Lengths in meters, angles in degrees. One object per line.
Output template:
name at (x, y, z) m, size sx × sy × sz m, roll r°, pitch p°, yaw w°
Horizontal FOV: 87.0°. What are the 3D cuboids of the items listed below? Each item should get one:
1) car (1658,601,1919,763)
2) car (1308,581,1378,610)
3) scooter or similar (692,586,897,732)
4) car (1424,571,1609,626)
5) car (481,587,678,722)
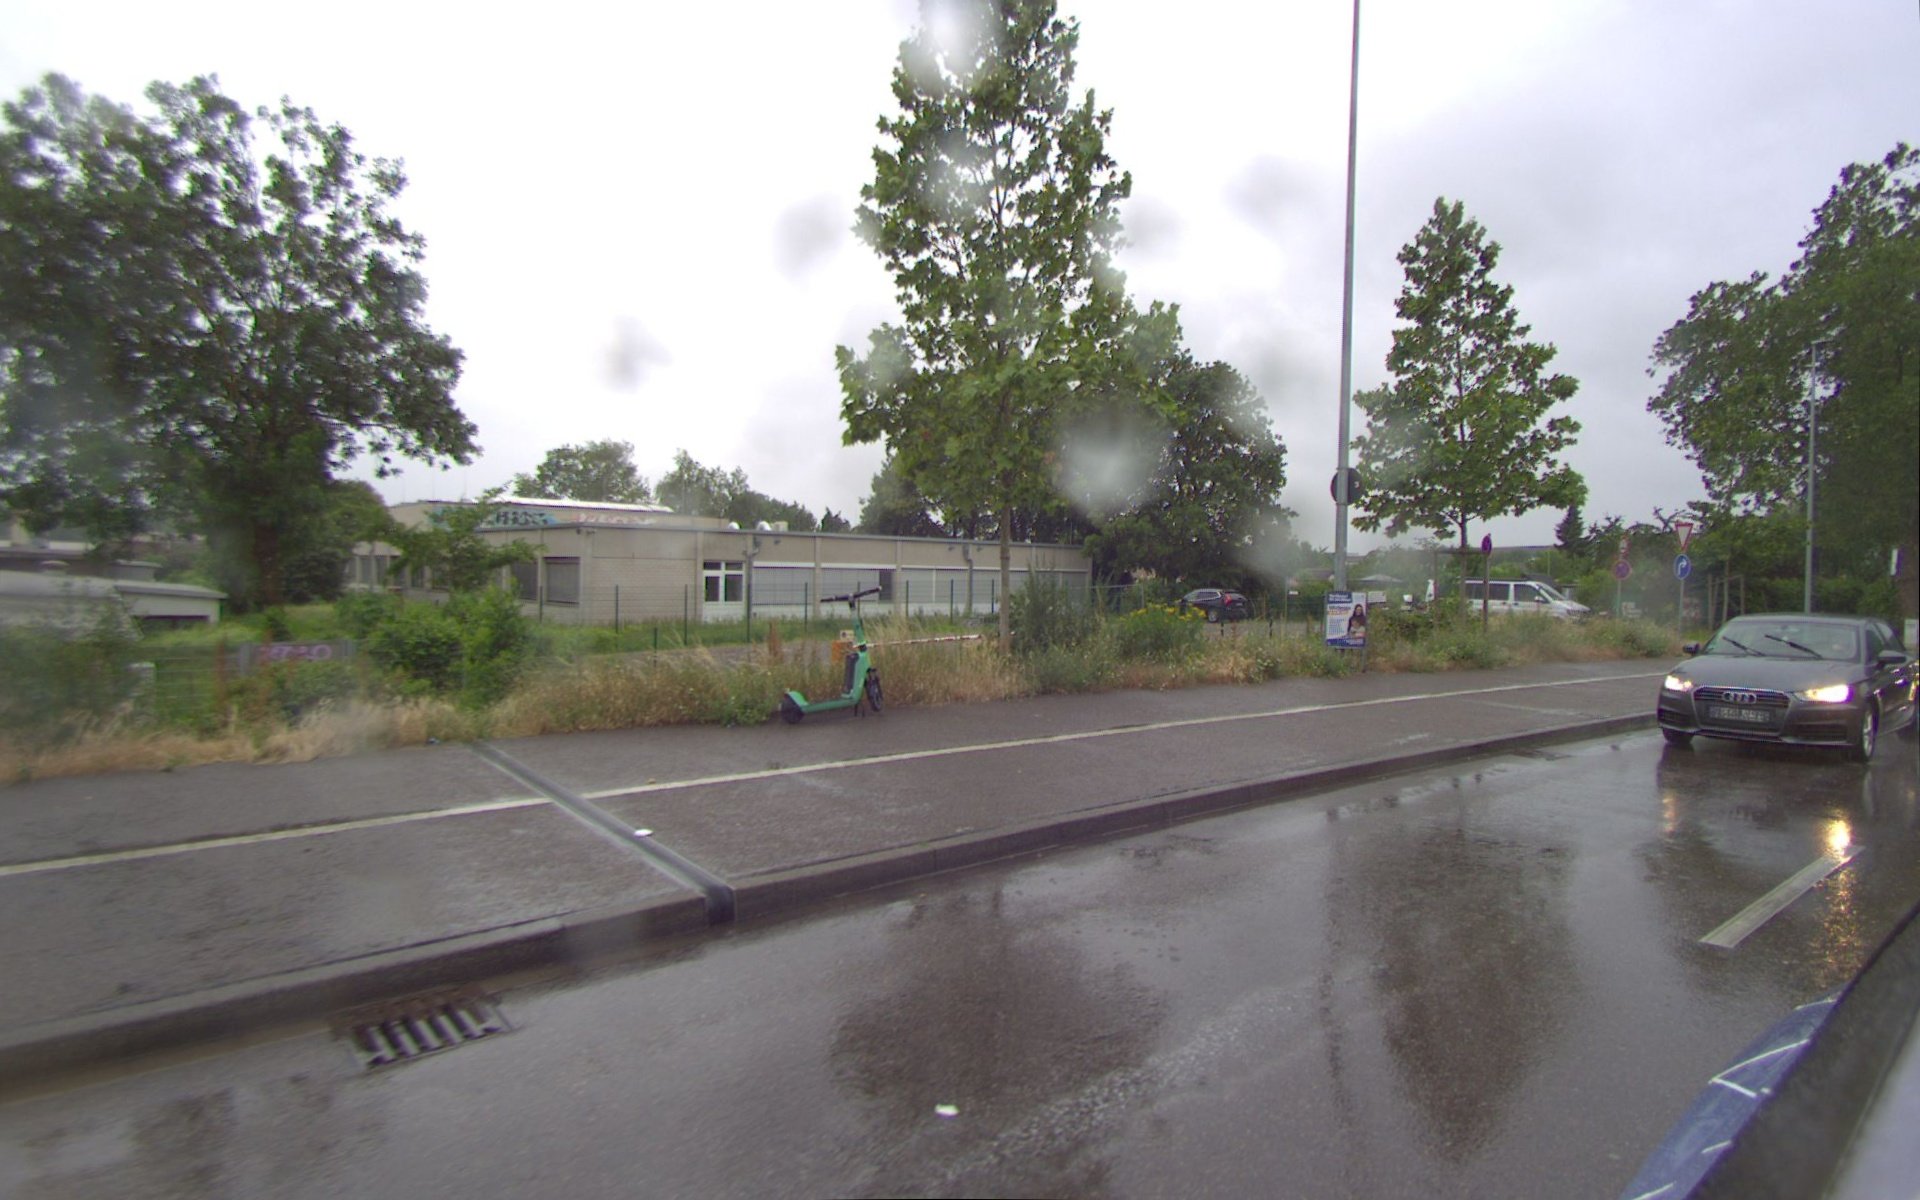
car at (9.044, 0.737, 10.763) m, size 3.563 × 1.383 × 1.602 m, roll 0°, pitch 2°, yaw -37°
car at (21.513, -0.270, 56.940) m, size 1.320 × 1.604 × 3.555 m, roll 0°, pitch 0°, yaw -36°
scooter or similar at (-1.446, 0.477, 9.107) m, size 1.878 × 1.214 × 0.367 m, roll -1°, pitch 1°, yaw -38°
car at (18.856, -0.071, 34.484) m, size 1.972 × 1.747 × 5.167 m, roll -1°, pitch 0°, yaw -42°
car at (-4.443, 0.521, 11.572) m, size 1.320 × 1.304 × 3.246 m, roll 0°, pitch 0°, yaw -36°
